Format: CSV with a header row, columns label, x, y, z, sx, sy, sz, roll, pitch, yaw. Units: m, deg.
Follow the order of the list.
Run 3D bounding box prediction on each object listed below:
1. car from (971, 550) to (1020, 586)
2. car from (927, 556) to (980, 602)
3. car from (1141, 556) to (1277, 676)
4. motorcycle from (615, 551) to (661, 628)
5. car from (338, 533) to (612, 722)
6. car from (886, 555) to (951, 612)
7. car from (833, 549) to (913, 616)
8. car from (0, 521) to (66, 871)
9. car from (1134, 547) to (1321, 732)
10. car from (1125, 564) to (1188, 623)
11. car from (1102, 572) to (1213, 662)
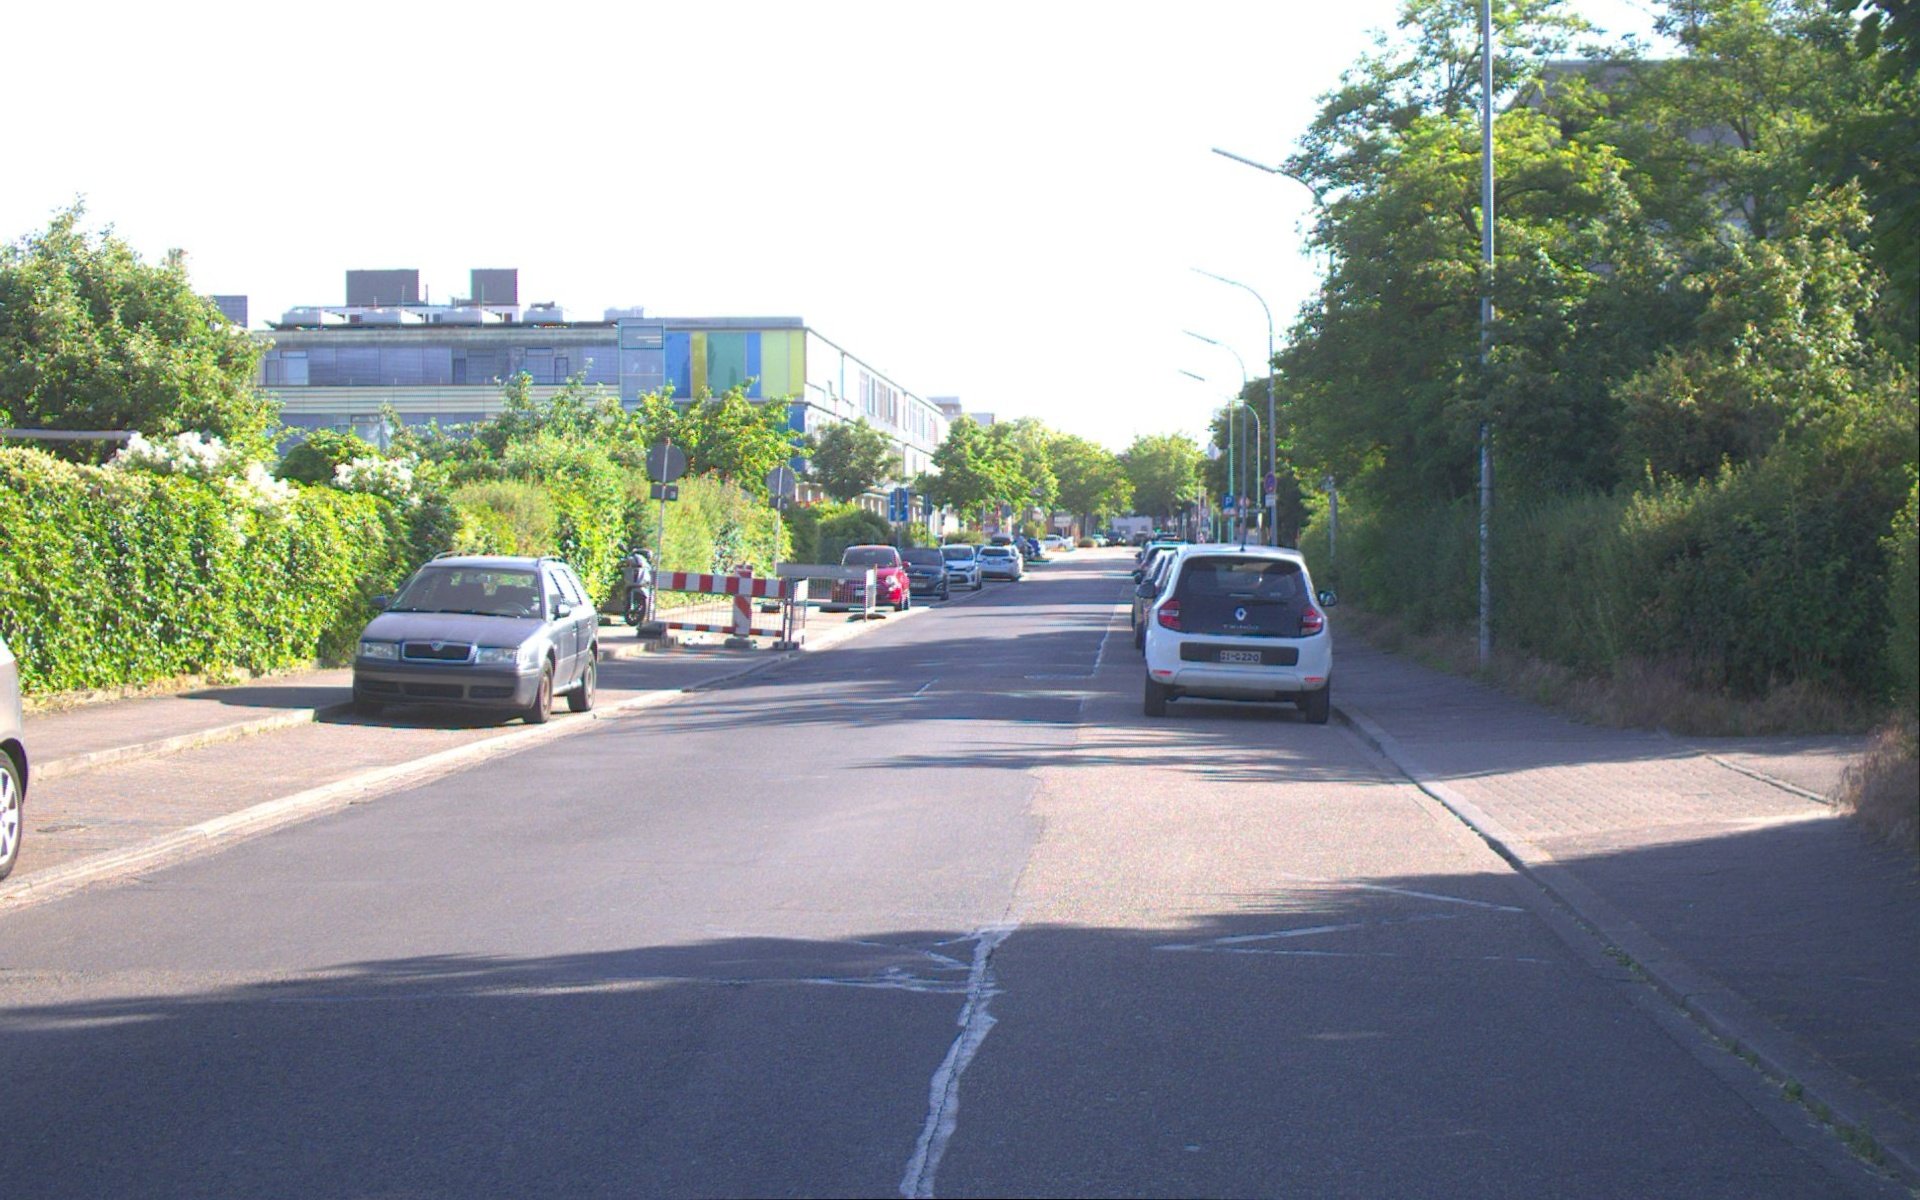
label,x,y,z,sx,sy,sz,roll,pitch,yaw
car,1.498,-1.323,143.170,1.854,1.423,4.134,2,1,3
car,-0.189,-0.706,113.923,1.560,1.489,3.758,0,1,3
car,3.325,0.184,46.447,1.655,1.481,3.838,3,1,2
motorcycle,-5.416,-0.175,57.898,0.566,1.264,2.091,2,0,-1
car,-4.427,0.216,31.980,1.643,1.551,4.417,3,1,3
car,-1.154,-0.478,96.879,1.560,1.489,3.570,3,1,3
car,-1.975,-0.409,78.436,1.560,1.489,3.570,0,1,3
car,-5.291,0.423,14.320,1.644,1.594,4.311,2,1,5
car,2.423,0.325,31.715,1.556,1.533,3.555,3,1,3
car,5.421,-0.190,94.571,1.623,1.521,3.901,3,1,4
car,3.409,0.272,60.011,1.754,1.408,4.656,3,1,2
